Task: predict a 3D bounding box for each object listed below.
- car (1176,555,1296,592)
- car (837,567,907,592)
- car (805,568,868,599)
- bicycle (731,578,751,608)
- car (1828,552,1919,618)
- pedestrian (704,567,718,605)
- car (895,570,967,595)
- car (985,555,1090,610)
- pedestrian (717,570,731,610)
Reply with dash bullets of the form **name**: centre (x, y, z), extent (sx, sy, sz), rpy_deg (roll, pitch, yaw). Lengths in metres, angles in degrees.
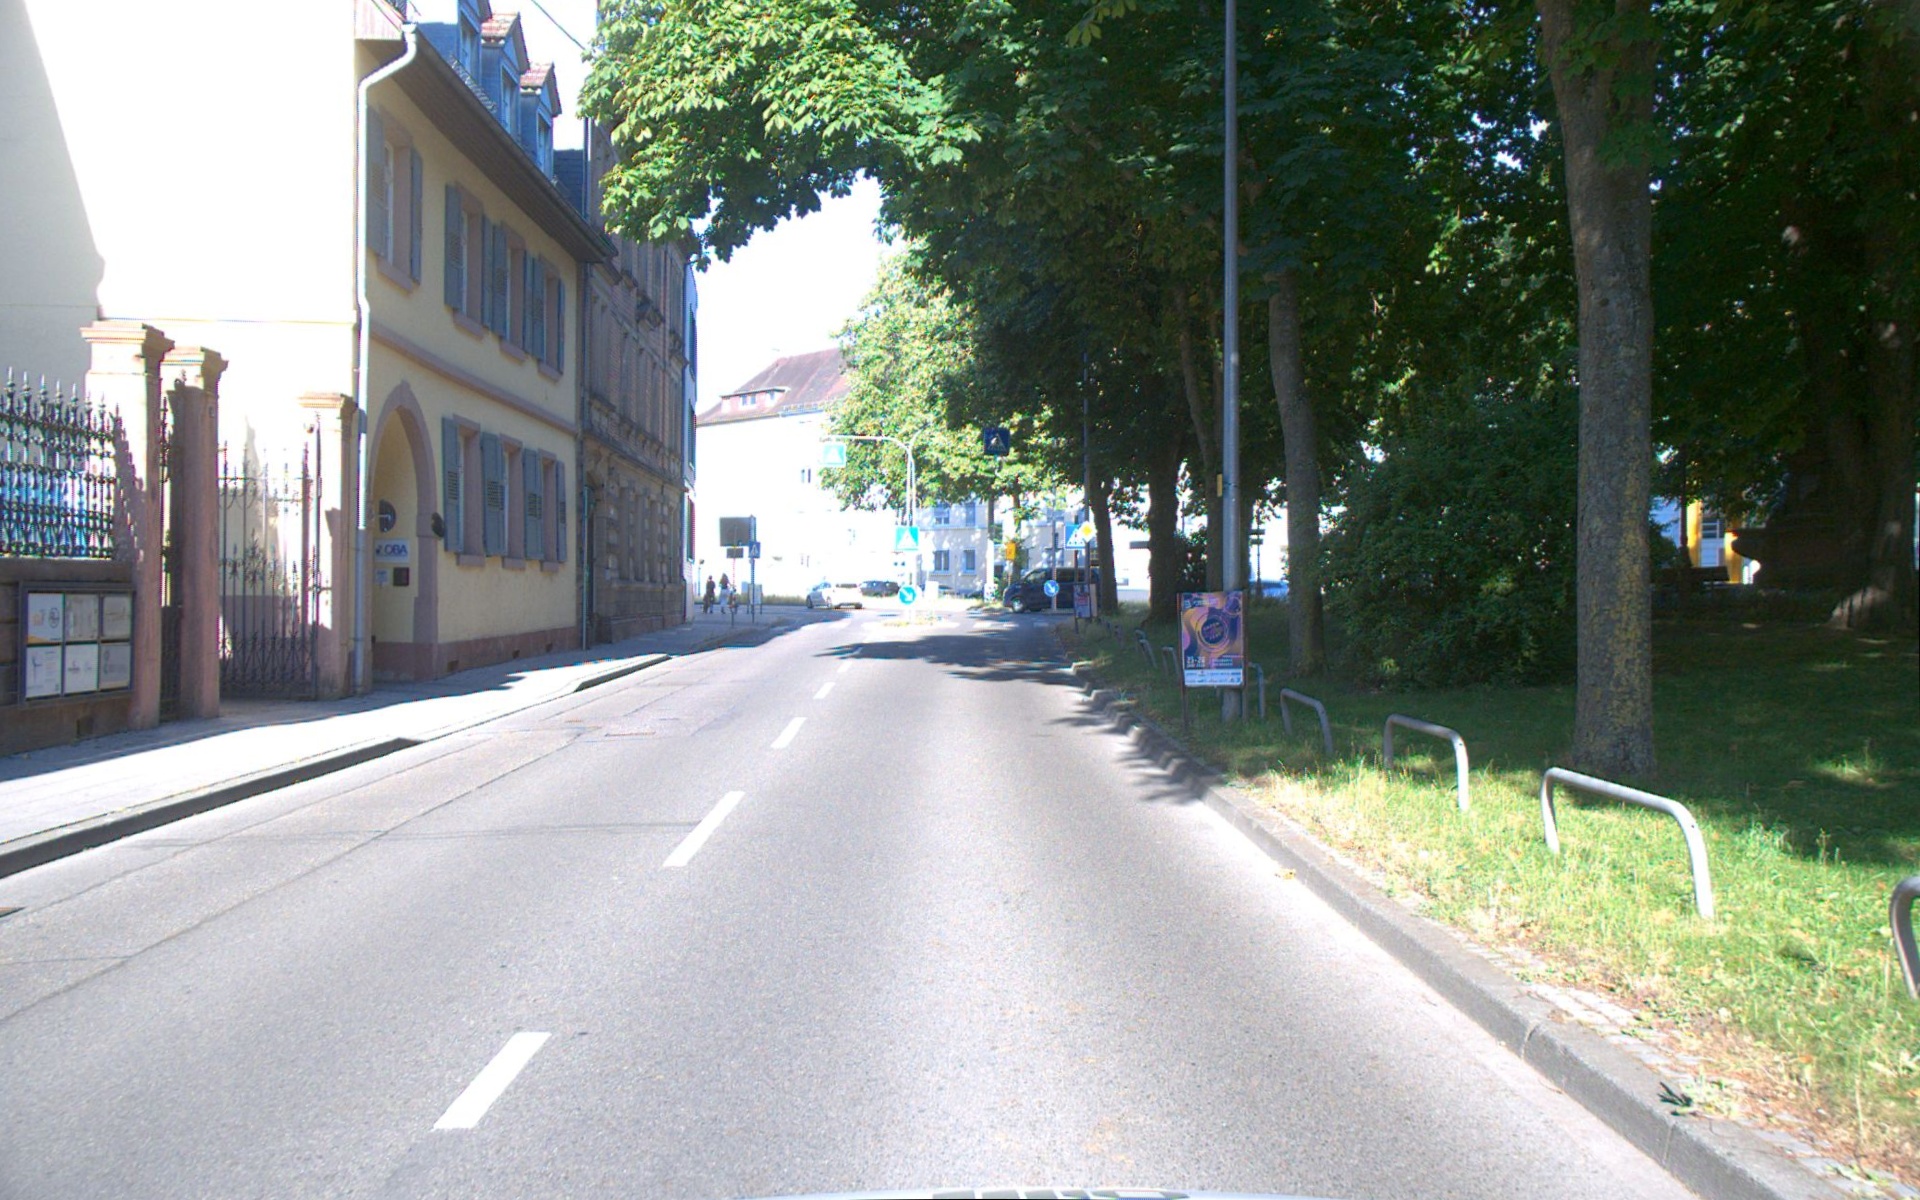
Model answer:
- **car**: centre (11.561, -1.125, 69.333), extent (4.662, 1.489, 1.854), rpy_deg (1, 2, 24)
- **car**: centre (-5.674, -1.324, 106.630), extent (1.986, 1.599, 4.564), rpy_deg (-1, 1, -45)
- **car**: centre (-6.314, -0.874, 84.282), extent (1.937, 1.531, 3.650), rpy_deg (-1, 2, -29)
- **bicycle**: centre (-9.237, -0.302, 69.793), extent (0.433, 1.199, 1.957), rpy_deg (1, 1, -18)
- **car**: centre (26.951, -0.396, 46.692), extent (1.985, 1.825, 3.935), rpy_deg (1, 0, -44)
- **pedestrian**: centre (-10.355, -0.579, 68.866), extent (0.467, 1.592, 0.599), rpy_deg (0, 1, -20)
- **car**: centre (-1.816, -1.104, 102.558), extent (1.986, 1.410, 4.373), rpy_deg (-1, 2, -45)
- **car**: centre (3.096, -0.707, 65.771), extent (3.902, 2.049, 2.002), rpy_deg (1, 0, 11)
- **pedestrian**: centre (-9.848, -0.426, 69.034), extent (0.467, 1.676, 0.599), rpy_deg (-1, 2, -20)
